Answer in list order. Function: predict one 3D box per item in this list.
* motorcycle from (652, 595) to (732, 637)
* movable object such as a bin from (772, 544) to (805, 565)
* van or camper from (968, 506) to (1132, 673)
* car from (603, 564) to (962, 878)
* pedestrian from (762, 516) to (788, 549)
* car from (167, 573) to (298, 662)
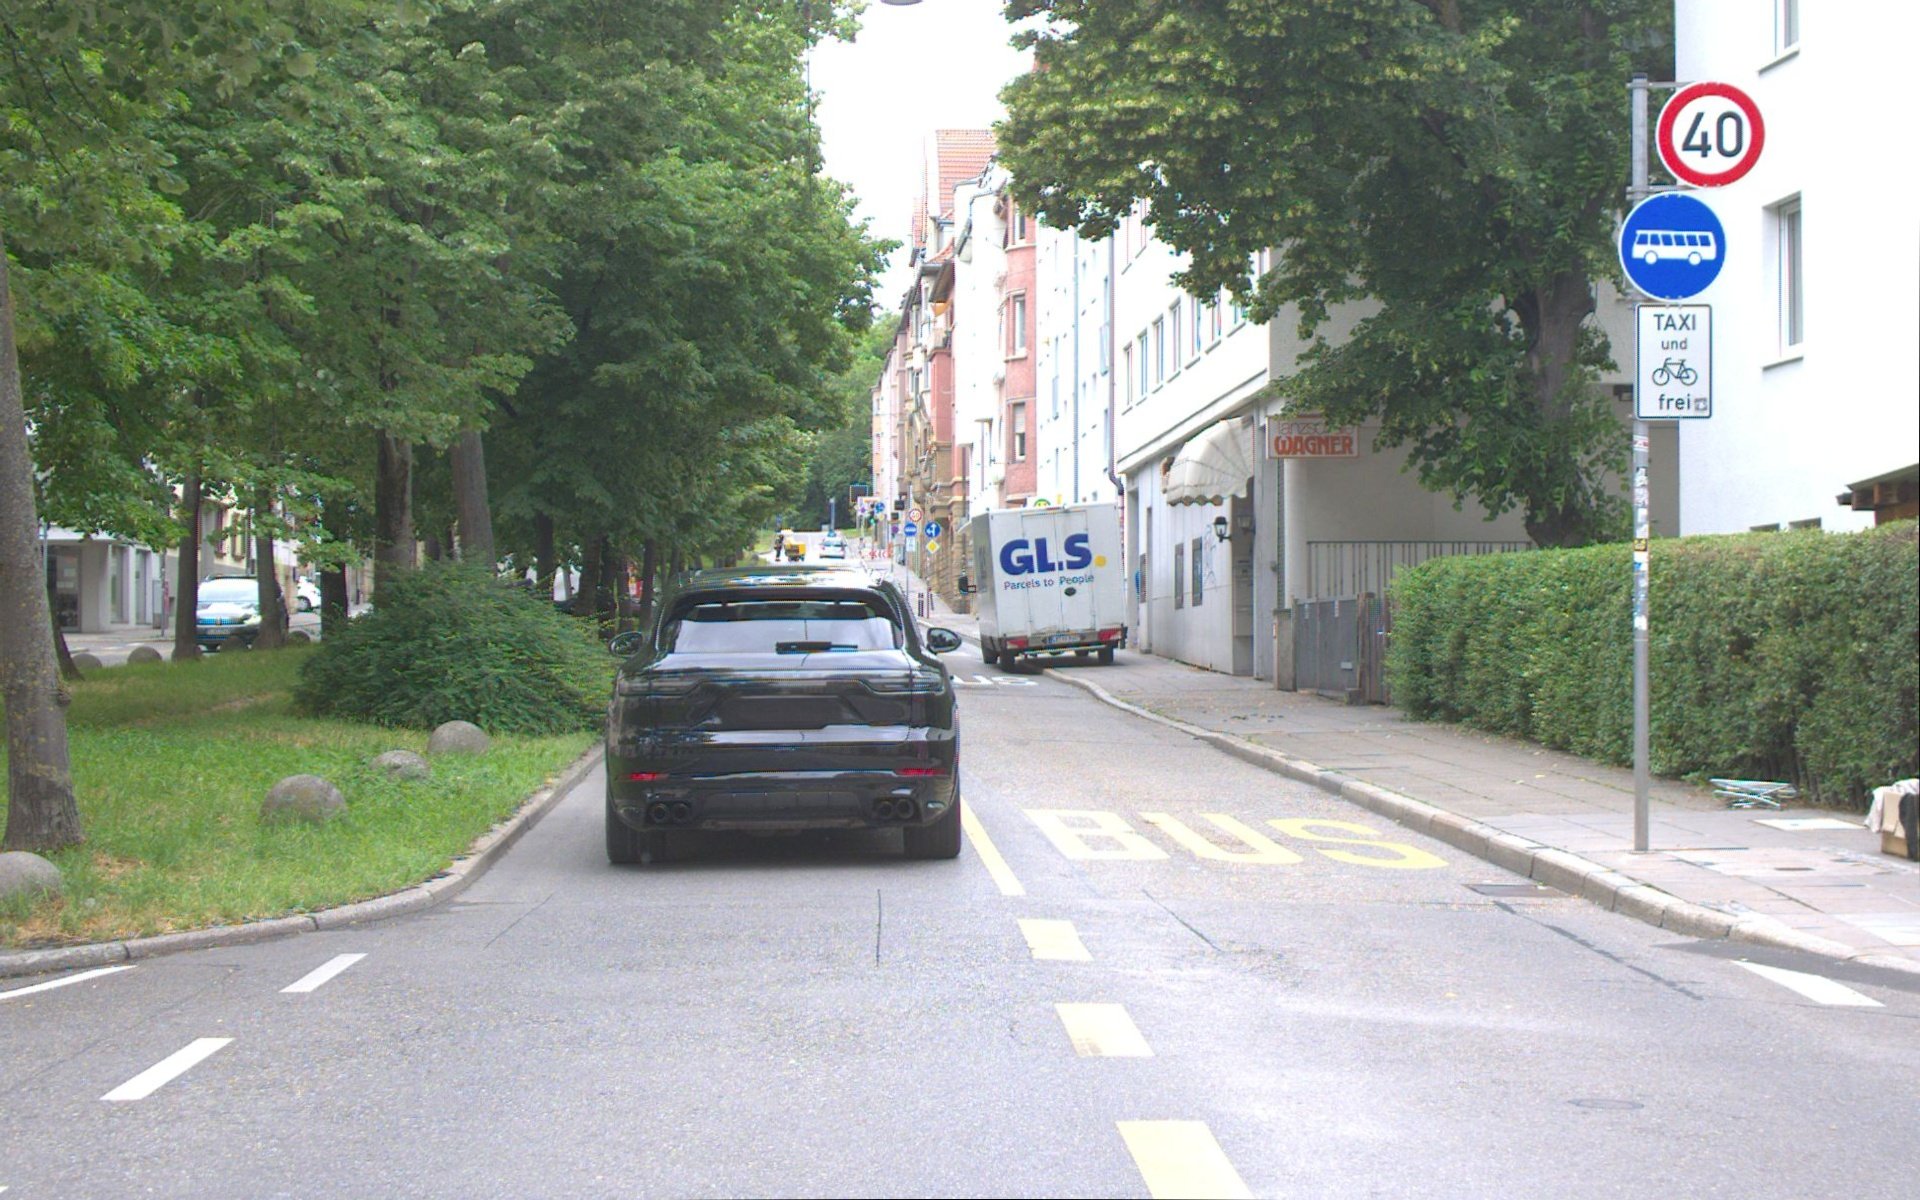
[{"bbox_3d":[-7.886,0.468,101.261,2.355,1.231,1.034,0,1,-4],"label":"motorcycle"},{"bbox_3d":[-10.694,-2.826,214.449,1.237,1.270,1.846,0,0,-37],"label":"movable object such as a bin"},{"bbox_3d":[1.515,-0.244,61.183,2.480,2.793,7.239,0,1,-2],"label":"van or camper"},{"bbox_3d":[-1.089,0.635,20.308,1.903,1.660,4.136,0,0,-4],"label":"car"},{"bbox_3d":[-11.621,-4.219,215.594,1.301,2.007,1.020,0,0,-35],"label":"pedestrian"},{"bbox_3d":[-15.621,0.360,74.021,1.949,1.623,4.365,-7,1,-3],"label":"car"}]
